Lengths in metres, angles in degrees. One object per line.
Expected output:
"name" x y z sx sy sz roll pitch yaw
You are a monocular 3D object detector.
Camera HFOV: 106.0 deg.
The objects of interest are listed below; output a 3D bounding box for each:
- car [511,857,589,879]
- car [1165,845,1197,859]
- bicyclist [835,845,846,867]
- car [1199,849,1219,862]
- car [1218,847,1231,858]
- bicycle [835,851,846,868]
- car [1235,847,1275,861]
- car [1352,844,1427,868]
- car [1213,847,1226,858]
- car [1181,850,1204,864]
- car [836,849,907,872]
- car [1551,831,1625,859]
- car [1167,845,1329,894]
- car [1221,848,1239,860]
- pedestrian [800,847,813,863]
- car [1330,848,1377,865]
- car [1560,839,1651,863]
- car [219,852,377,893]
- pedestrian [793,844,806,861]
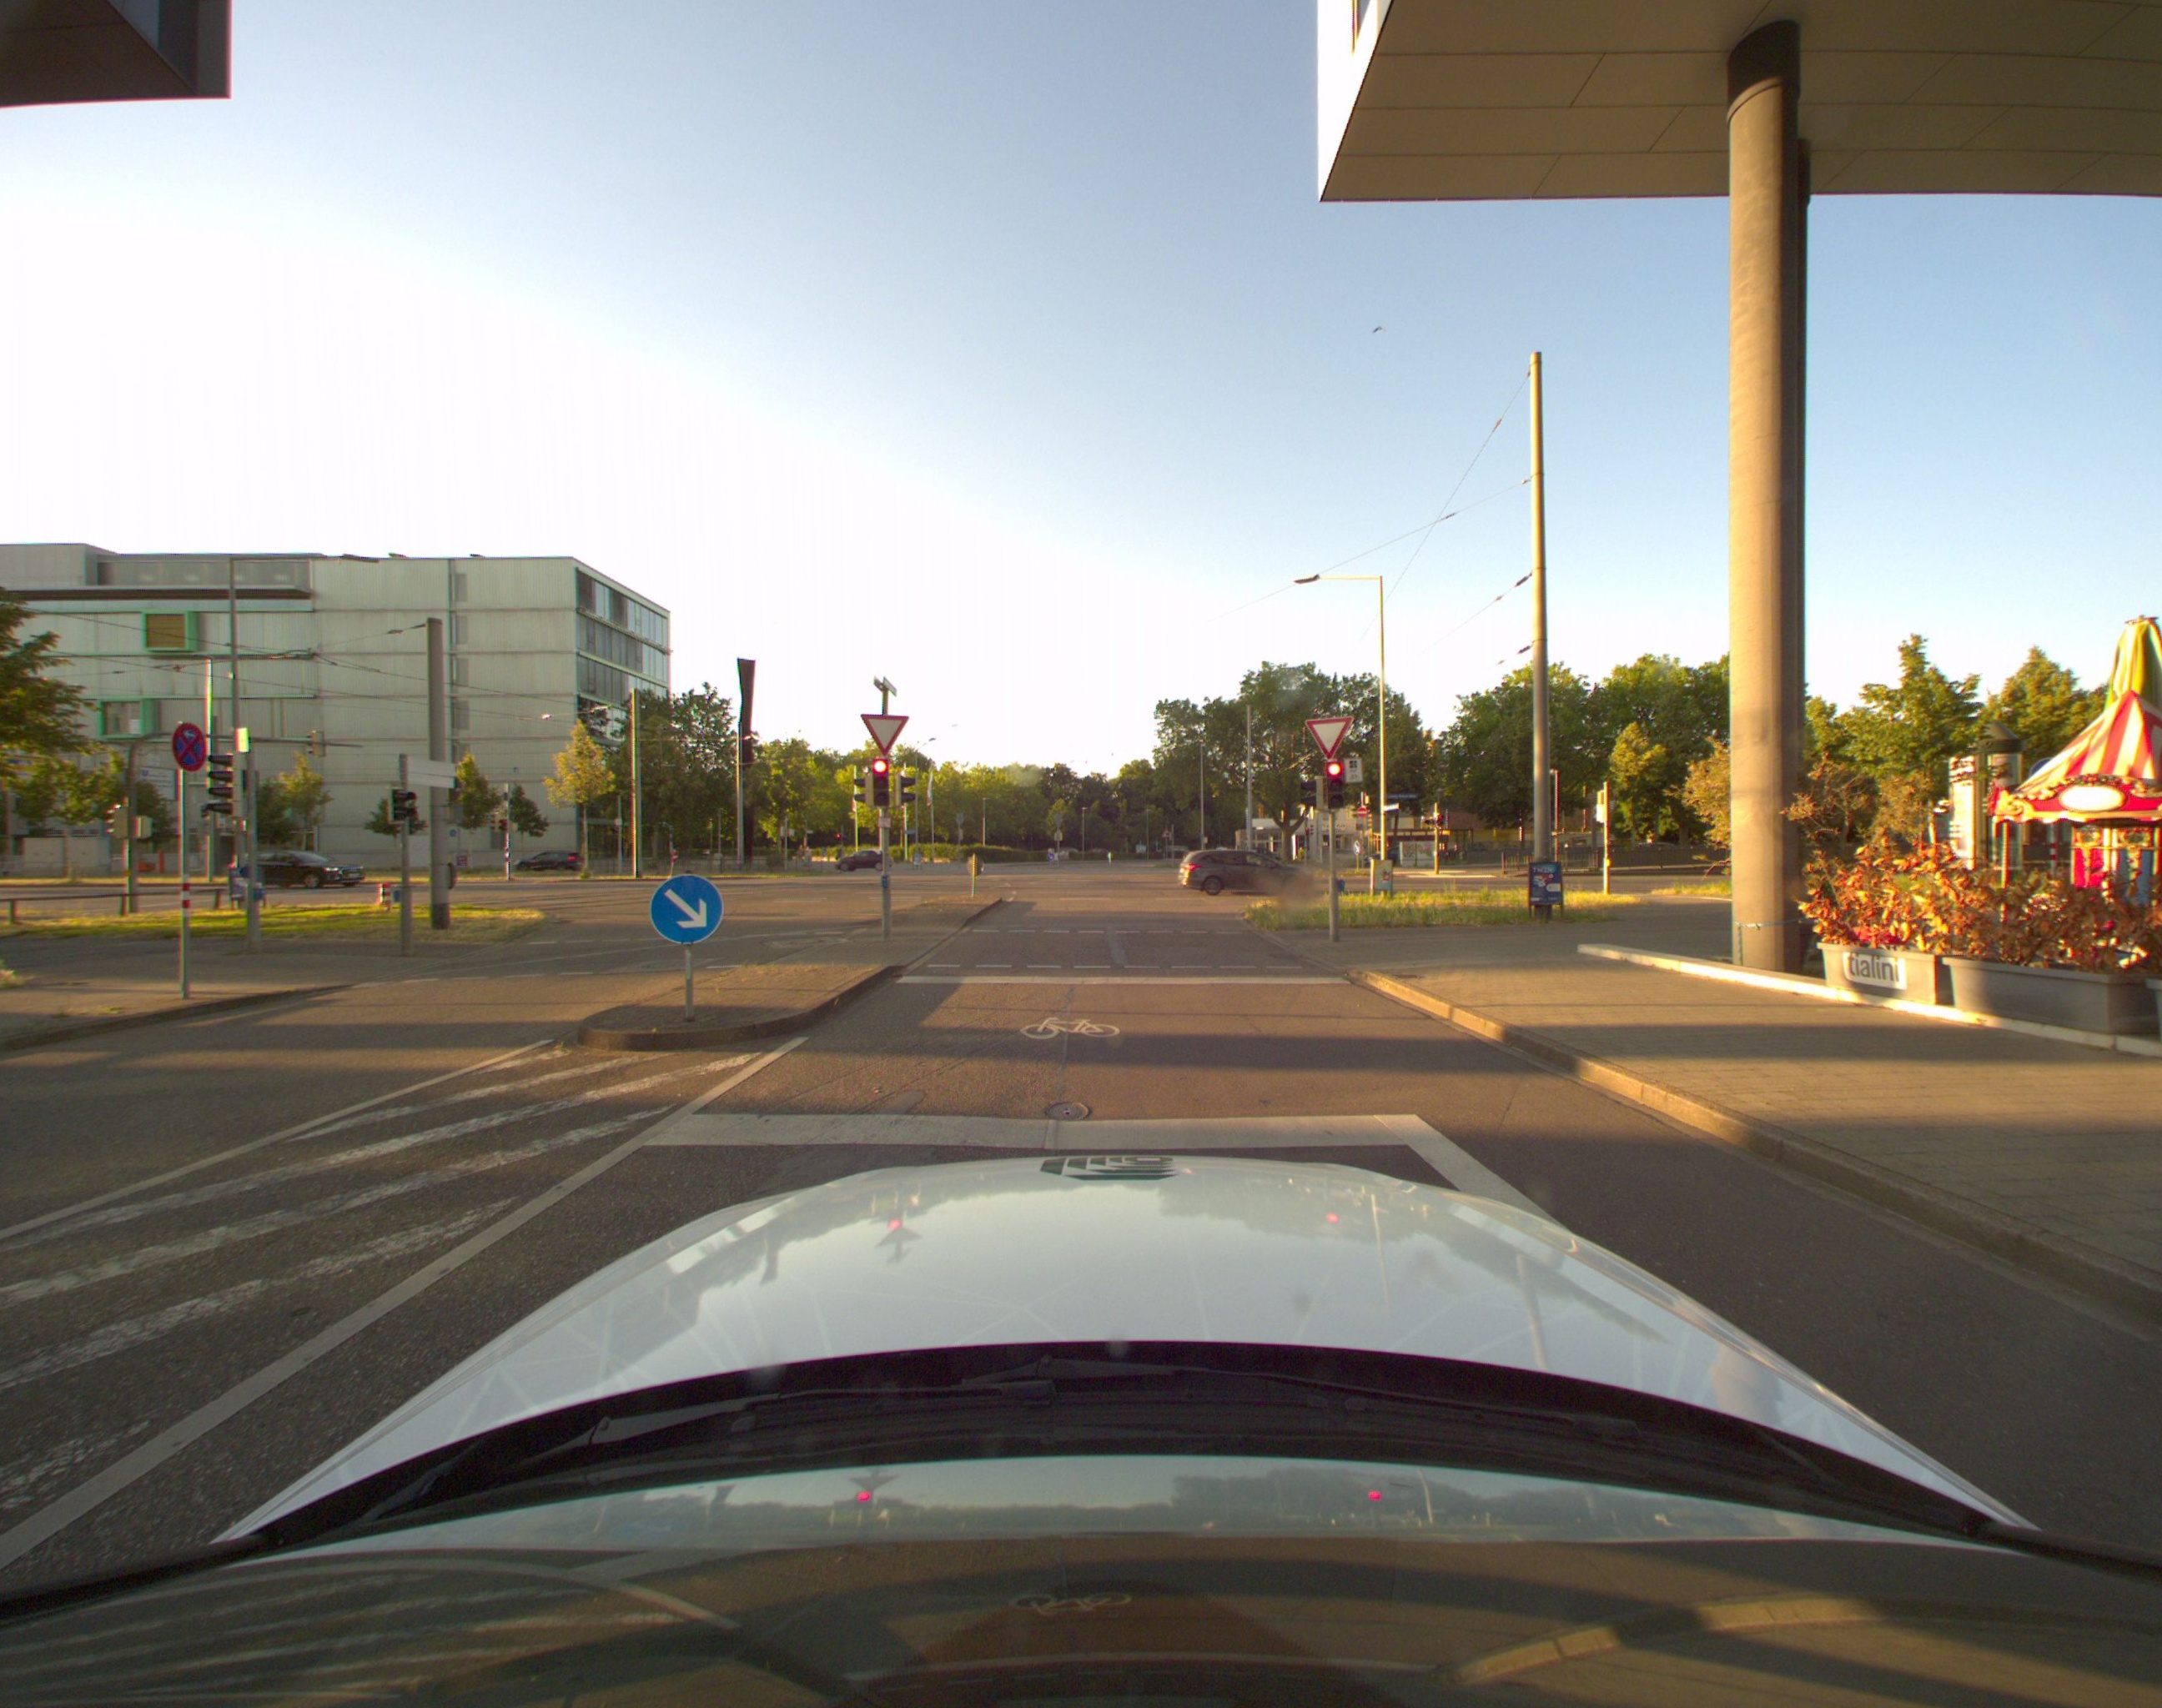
"car" -37.262 0.971 57.214 4.313 1.496 1.806 -1 -1 3
"car" 15.420 -0.332 125.737 4.753 2.006 2.002 -1 -1 3
"bicyclist" -19.234 0.144 65.130 0.752 1.709 0.915 -1 0 -15
"car" 16.211 0.214 103.187 1.978 1.662 4.018 -1 -1 17
"car" 23.938 -0.257 135.745 1.849 1.794 4.015 -1 -1 14
"bicycle" -19.240 0.411 65.148 0.731 1.341 2.678 -1 0 -14
"car" 18.926 0.012 88.908 4.194 1.552 2.005 -1 -1 9
"car" 21.287 0.148 56.350 4.454 1.552 2.001 -1 -1 3
"car" 22.274 -0.250 130.887 1.850 1.794 4.013 -1 -1 12
"car" 13.107 0.377 95.567 1.978 1.662 4.018 -1 -1 17
"car" -14.041 0.439 54.681 4.320 1.496 1.803 -1 -1 -2
"car" 47.889 -0.829 77.064 5.561 2.551 2.235 -1 0 9
"car" 5.539 0.501 27.359 4.997 1.511 1.986 -1 0 -4
"car" 21.091 -0.002 115.307 1.978 1.662 4.018 -1 -1 17
"pedestrian" -28.817 0.111 85.505 0.852 1.744 0.835 -1 0 32
"car" 24.012 0.200 71.779 3.715 1.440 1.669 -1 -1 11
"car" 36.513 -0.203 56.794 5.082 1.552 2.000 -1 -1 1
"car" -32.508 0.739 33.906 4.467 1.557 1.986 -1 0 -4
"pedestrian" -29.267 -0.200 84.692 0.852 1.744 0.835 -1 0 33
